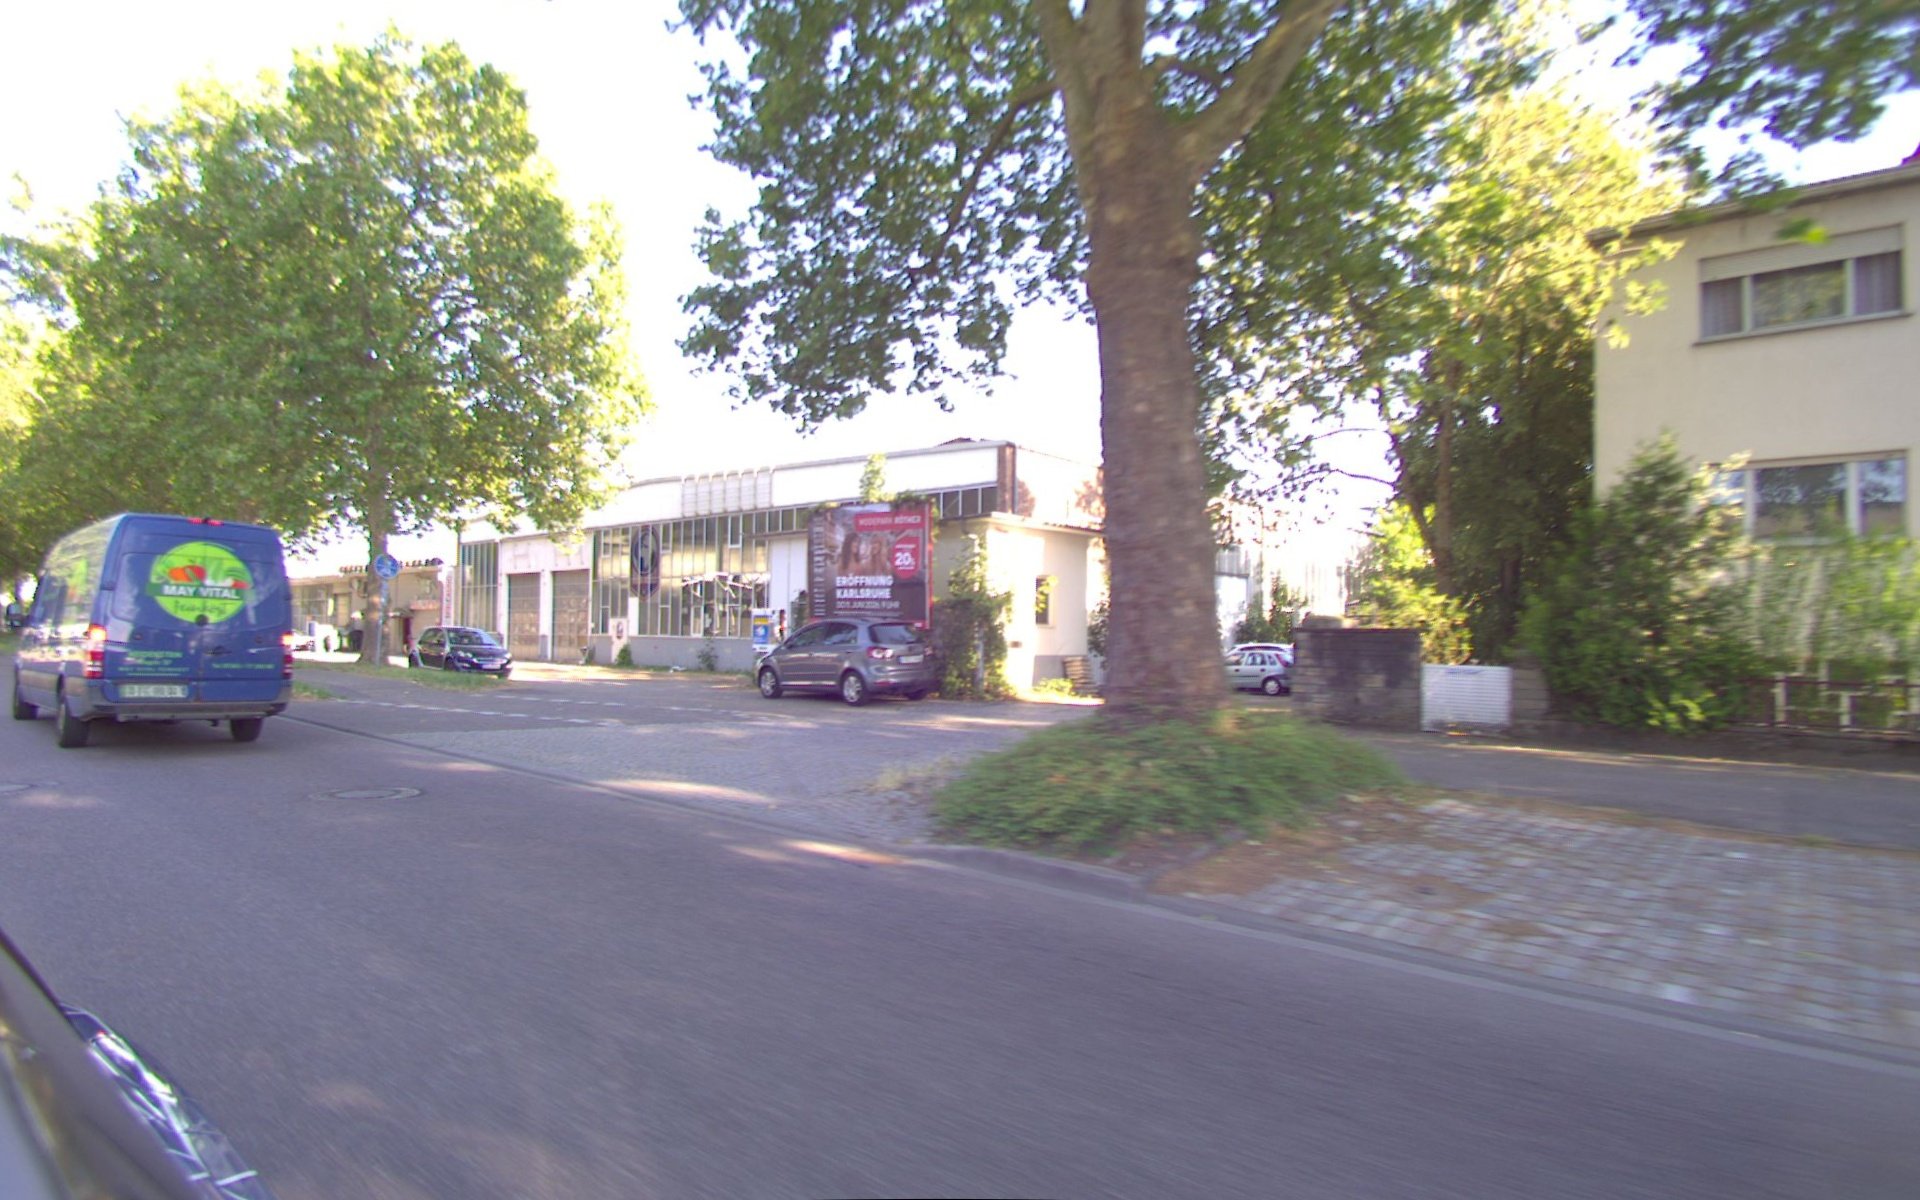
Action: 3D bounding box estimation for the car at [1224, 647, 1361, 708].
[{"bbox_3d":[11.220,2.555,34.269,3.995,1.763,1.974,0,-1,39],"label":"car"}]

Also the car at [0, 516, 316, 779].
[{"bbox_3d":[-10.939,0.593,13.430,6.998,2.680,2.105,-2,-3,41],"label":"car"}]

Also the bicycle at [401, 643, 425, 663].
[{"bbox_3d":[-32.860,3.160,60.796,2.159,1.066,0.530,0,4,43],"label":"bicycle"}]

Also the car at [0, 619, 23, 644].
[{"bbox_3d":[-117.180,3.624,121.172,2.575,2.875,6.930,0,-6,13],"label":"car"}]

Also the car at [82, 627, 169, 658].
[{"bbox_3d":[-49.052,2.470,59.591,1.969,1.642,4.269,0,0,-6],"label":"car"}]

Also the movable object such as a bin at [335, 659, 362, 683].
[{"bbox_3d":[-40.393,4.670,66.808,1.626,1.442,1.045,0,-1,39],"label":"movable object such as a bin"}]

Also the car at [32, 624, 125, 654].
[{"bbox_3d":[-54.458,2.372,62.613,1.977,1.763,3.989,0,0,9],"label":"car"}]

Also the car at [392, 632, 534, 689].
[{"bbox_3d":[-14.151,1.708,28.770,3.914,1.380,1.975,0,-6,37],"label":"car"}]

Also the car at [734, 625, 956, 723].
[{"bbox_3d":[-2.288,1.313,19.487,4.273,1.588,1.972,0,-1,43],"label":"car"}]
